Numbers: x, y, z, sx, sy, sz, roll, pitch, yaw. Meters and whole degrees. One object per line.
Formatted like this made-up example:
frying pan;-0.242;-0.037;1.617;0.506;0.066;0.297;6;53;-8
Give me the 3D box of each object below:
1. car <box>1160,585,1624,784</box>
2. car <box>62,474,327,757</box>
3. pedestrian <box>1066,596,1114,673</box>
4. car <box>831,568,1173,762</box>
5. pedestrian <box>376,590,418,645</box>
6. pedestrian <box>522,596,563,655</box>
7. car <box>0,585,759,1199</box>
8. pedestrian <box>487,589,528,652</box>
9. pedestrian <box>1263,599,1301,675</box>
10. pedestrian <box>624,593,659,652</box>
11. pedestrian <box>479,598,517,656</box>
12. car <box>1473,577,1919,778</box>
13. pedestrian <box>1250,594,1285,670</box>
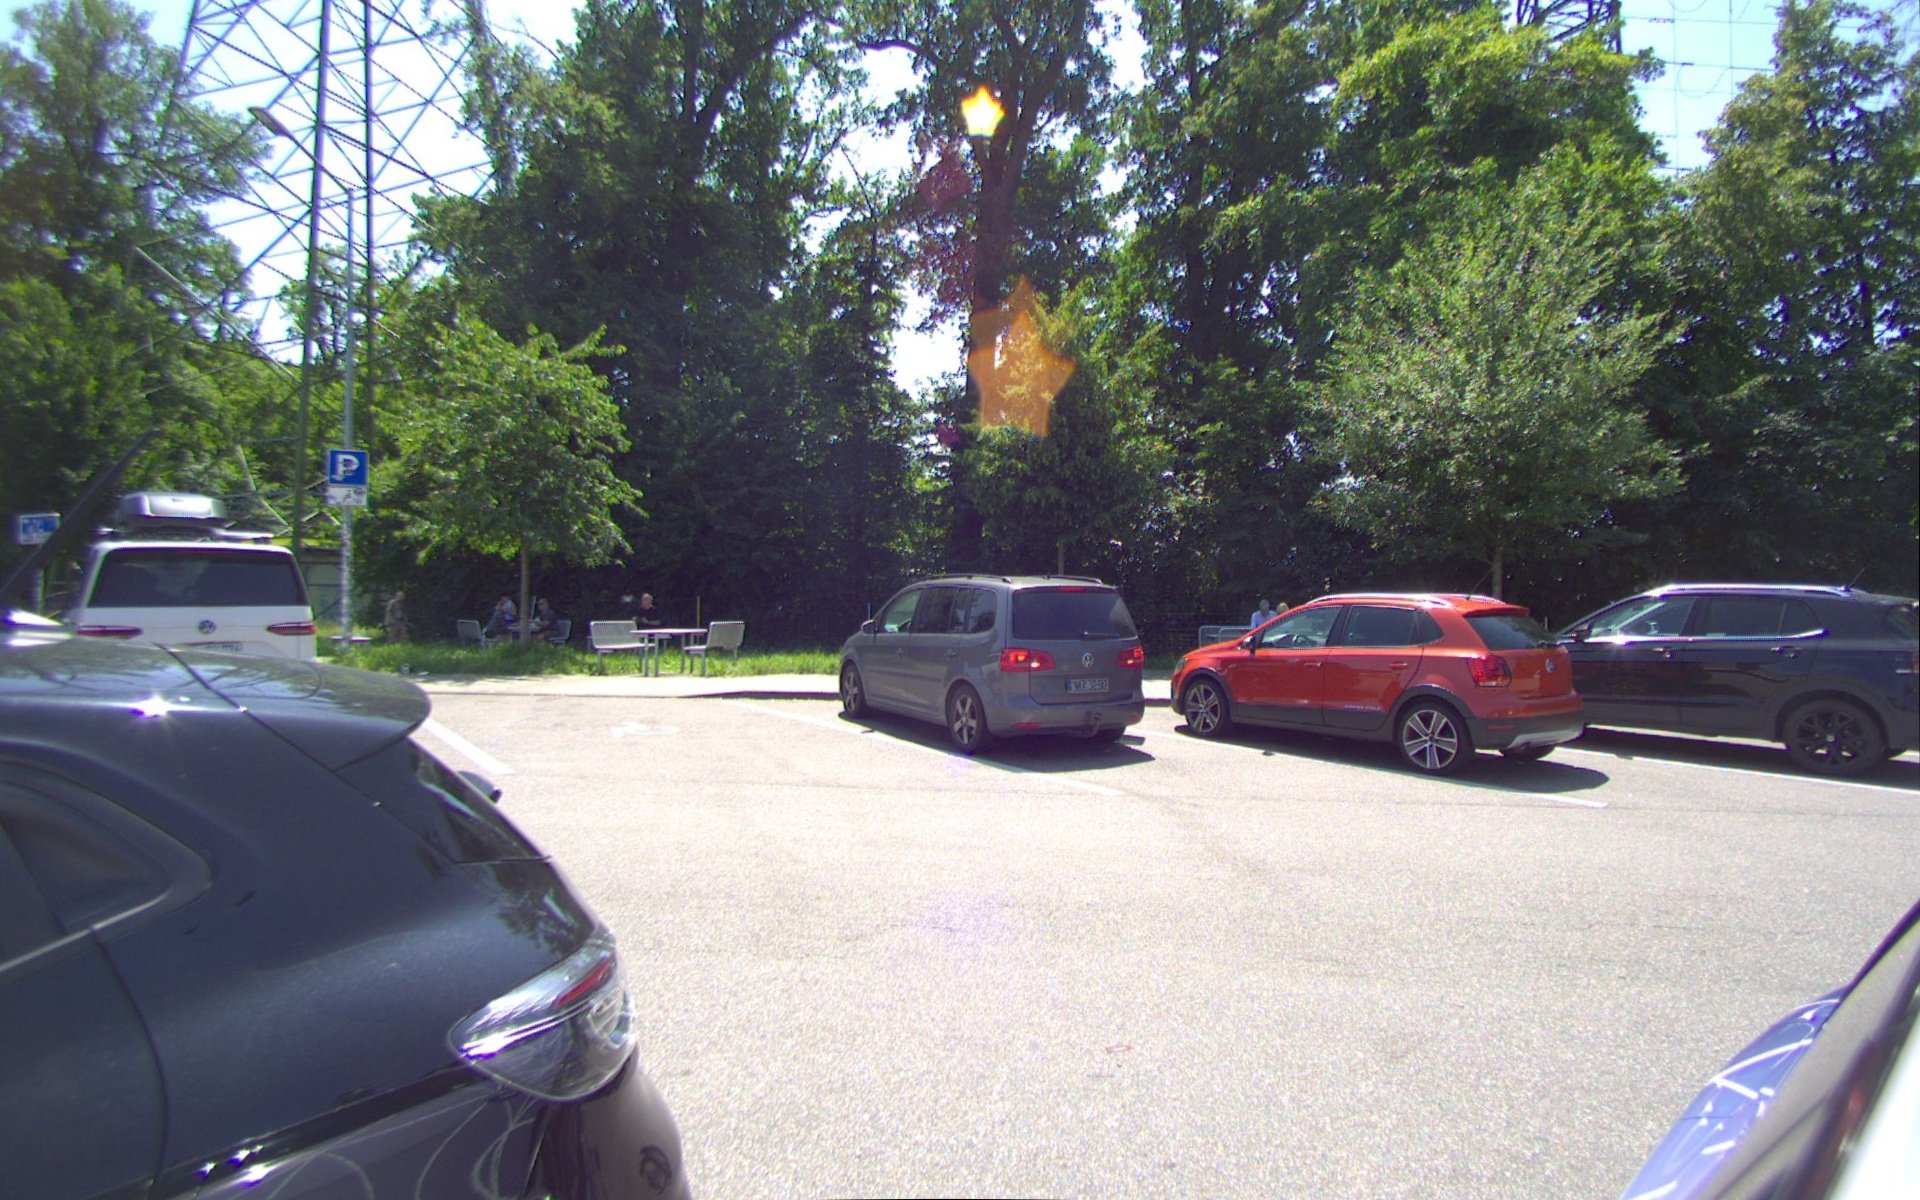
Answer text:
car;3.856;0.607;9.638;1.604;1.476;3.810;0;1;-34
car;-8.070;0.089;10.611;1.885;2.353;4.089;0;1;-40
pedestrian;2.152;0.573;16.820;0.660;1.235;0.682;1;-2;-5
car;0.219;0.502;10.540;1.717;1.611;3.961;0;1;-30
pedestrian;-14.318;0.438;25.734;0.602;1.391;0.702;0;-1;28
pedestrian;-9.720;0.581;23.562;0.722;1.343;0.669;1;-1;-39
car;-2.131;0.719;0.573;1.615;1.503;3.706;0;-1;44
pedestrian;-10.952;0.489;24.499;0.722;1.478;0.669;1;-1;-39
pedestrian;5.682;0.641;17.883;0.495;1.316;0.491;1;-1;0
pedestrian;-6.691;0.463;21.266;0.550;1.229;0.599;1;-1;-1
pedestrian;-10.440;0.597;22.865;0.630;1.287;0.579;1;-1;-39
car;7.234;0.578;9.662;1.727;1.566;3.806;0;1;-39
pedestrian;5.764;0.591;19.006;0.495;1.393;0.491;1;-1;0
